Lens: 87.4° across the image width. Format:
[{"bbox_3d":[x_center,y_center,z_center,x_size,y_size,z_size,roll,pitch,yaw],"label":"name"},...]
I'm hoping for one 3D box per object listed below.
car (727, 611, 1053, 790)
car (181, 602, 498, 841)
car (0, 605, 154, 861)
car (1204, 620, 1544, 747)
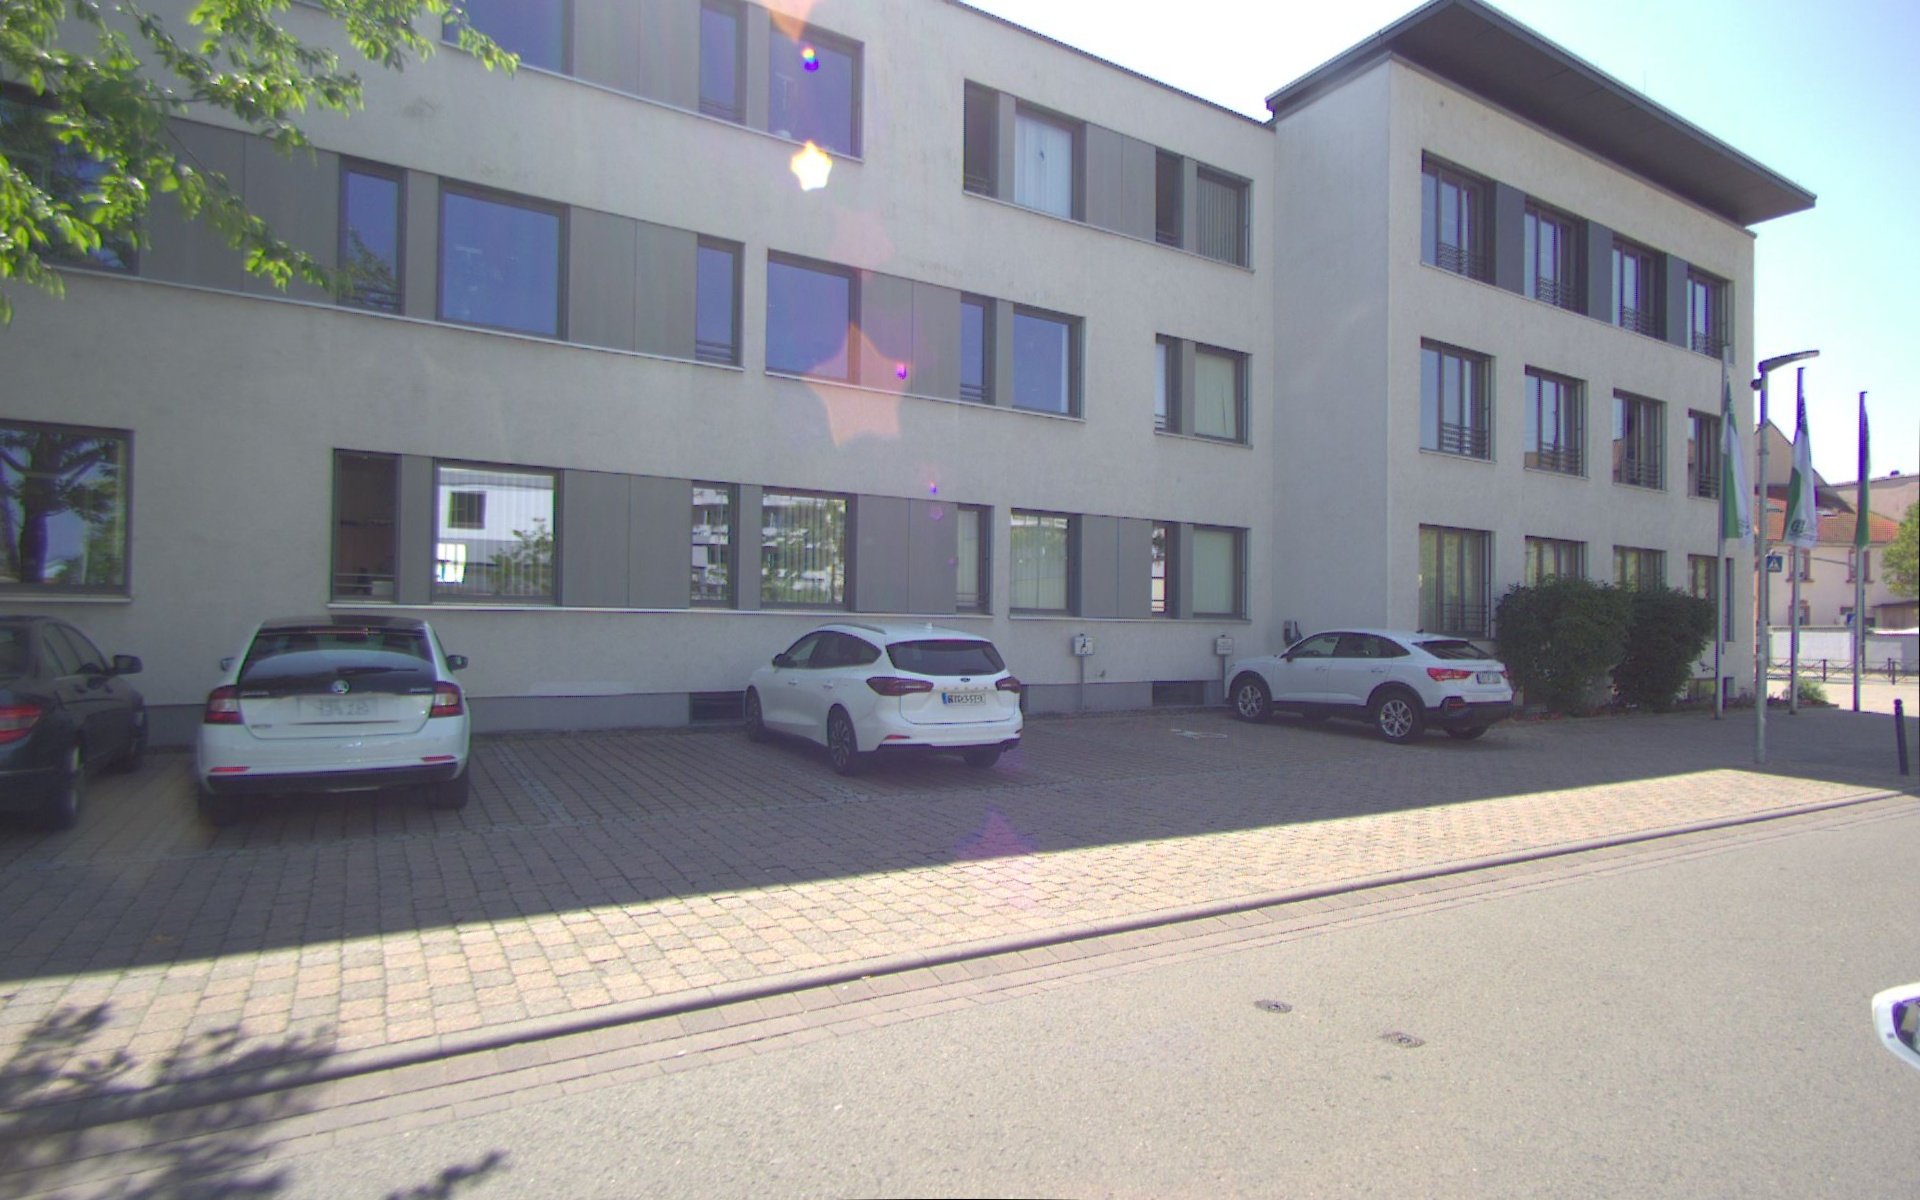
[{"bbox_3d":[-1.024,0.928,11.336,1.912,1.575,4.483,1,-1,-30],"label":"car"},{"bbox_3d":[-5.112,0.776,8.424,1.787,1.470,3.966,1,0,-31],"label":"car"},{"bbox_3d":[-7.218,0.776,7.138,1.952,1.450,3.962,1,0,-34],"label":"car"},{"bbox_3d":[6.170,1.158,15.534,2.124,1.574,4.483,2,-1,-31],"label":"car"}]
